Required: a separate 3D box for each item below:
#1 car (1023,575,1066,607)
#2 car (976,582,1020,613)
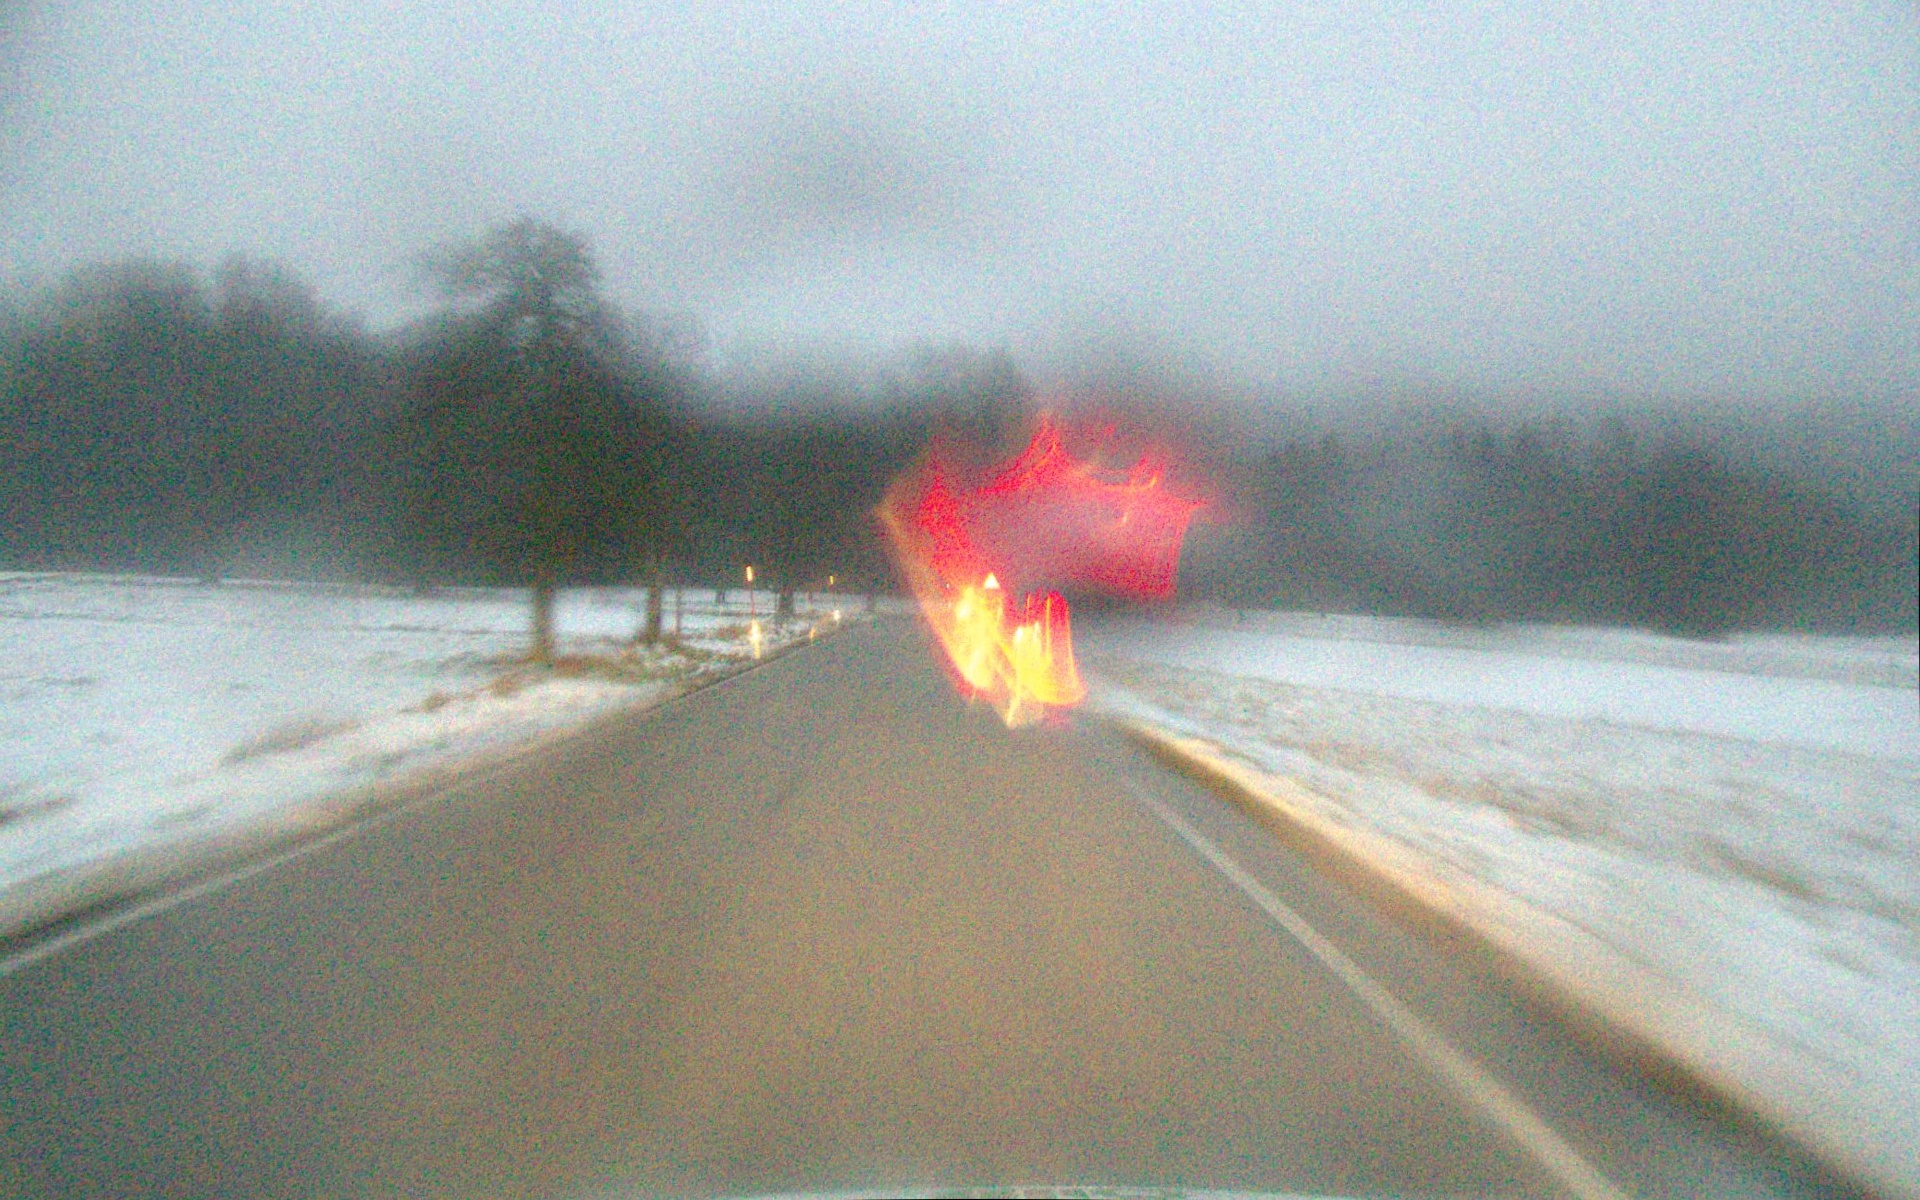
[{"bbox_3d":[7.478,-0.799,145.721,2.206,2.691,5.006,1,1,22],"label":"car"},{"bbox_3d":[2.795,-0.155,120.857,1.953,2.087,4.001,4,2,20],"label":"car"}]
